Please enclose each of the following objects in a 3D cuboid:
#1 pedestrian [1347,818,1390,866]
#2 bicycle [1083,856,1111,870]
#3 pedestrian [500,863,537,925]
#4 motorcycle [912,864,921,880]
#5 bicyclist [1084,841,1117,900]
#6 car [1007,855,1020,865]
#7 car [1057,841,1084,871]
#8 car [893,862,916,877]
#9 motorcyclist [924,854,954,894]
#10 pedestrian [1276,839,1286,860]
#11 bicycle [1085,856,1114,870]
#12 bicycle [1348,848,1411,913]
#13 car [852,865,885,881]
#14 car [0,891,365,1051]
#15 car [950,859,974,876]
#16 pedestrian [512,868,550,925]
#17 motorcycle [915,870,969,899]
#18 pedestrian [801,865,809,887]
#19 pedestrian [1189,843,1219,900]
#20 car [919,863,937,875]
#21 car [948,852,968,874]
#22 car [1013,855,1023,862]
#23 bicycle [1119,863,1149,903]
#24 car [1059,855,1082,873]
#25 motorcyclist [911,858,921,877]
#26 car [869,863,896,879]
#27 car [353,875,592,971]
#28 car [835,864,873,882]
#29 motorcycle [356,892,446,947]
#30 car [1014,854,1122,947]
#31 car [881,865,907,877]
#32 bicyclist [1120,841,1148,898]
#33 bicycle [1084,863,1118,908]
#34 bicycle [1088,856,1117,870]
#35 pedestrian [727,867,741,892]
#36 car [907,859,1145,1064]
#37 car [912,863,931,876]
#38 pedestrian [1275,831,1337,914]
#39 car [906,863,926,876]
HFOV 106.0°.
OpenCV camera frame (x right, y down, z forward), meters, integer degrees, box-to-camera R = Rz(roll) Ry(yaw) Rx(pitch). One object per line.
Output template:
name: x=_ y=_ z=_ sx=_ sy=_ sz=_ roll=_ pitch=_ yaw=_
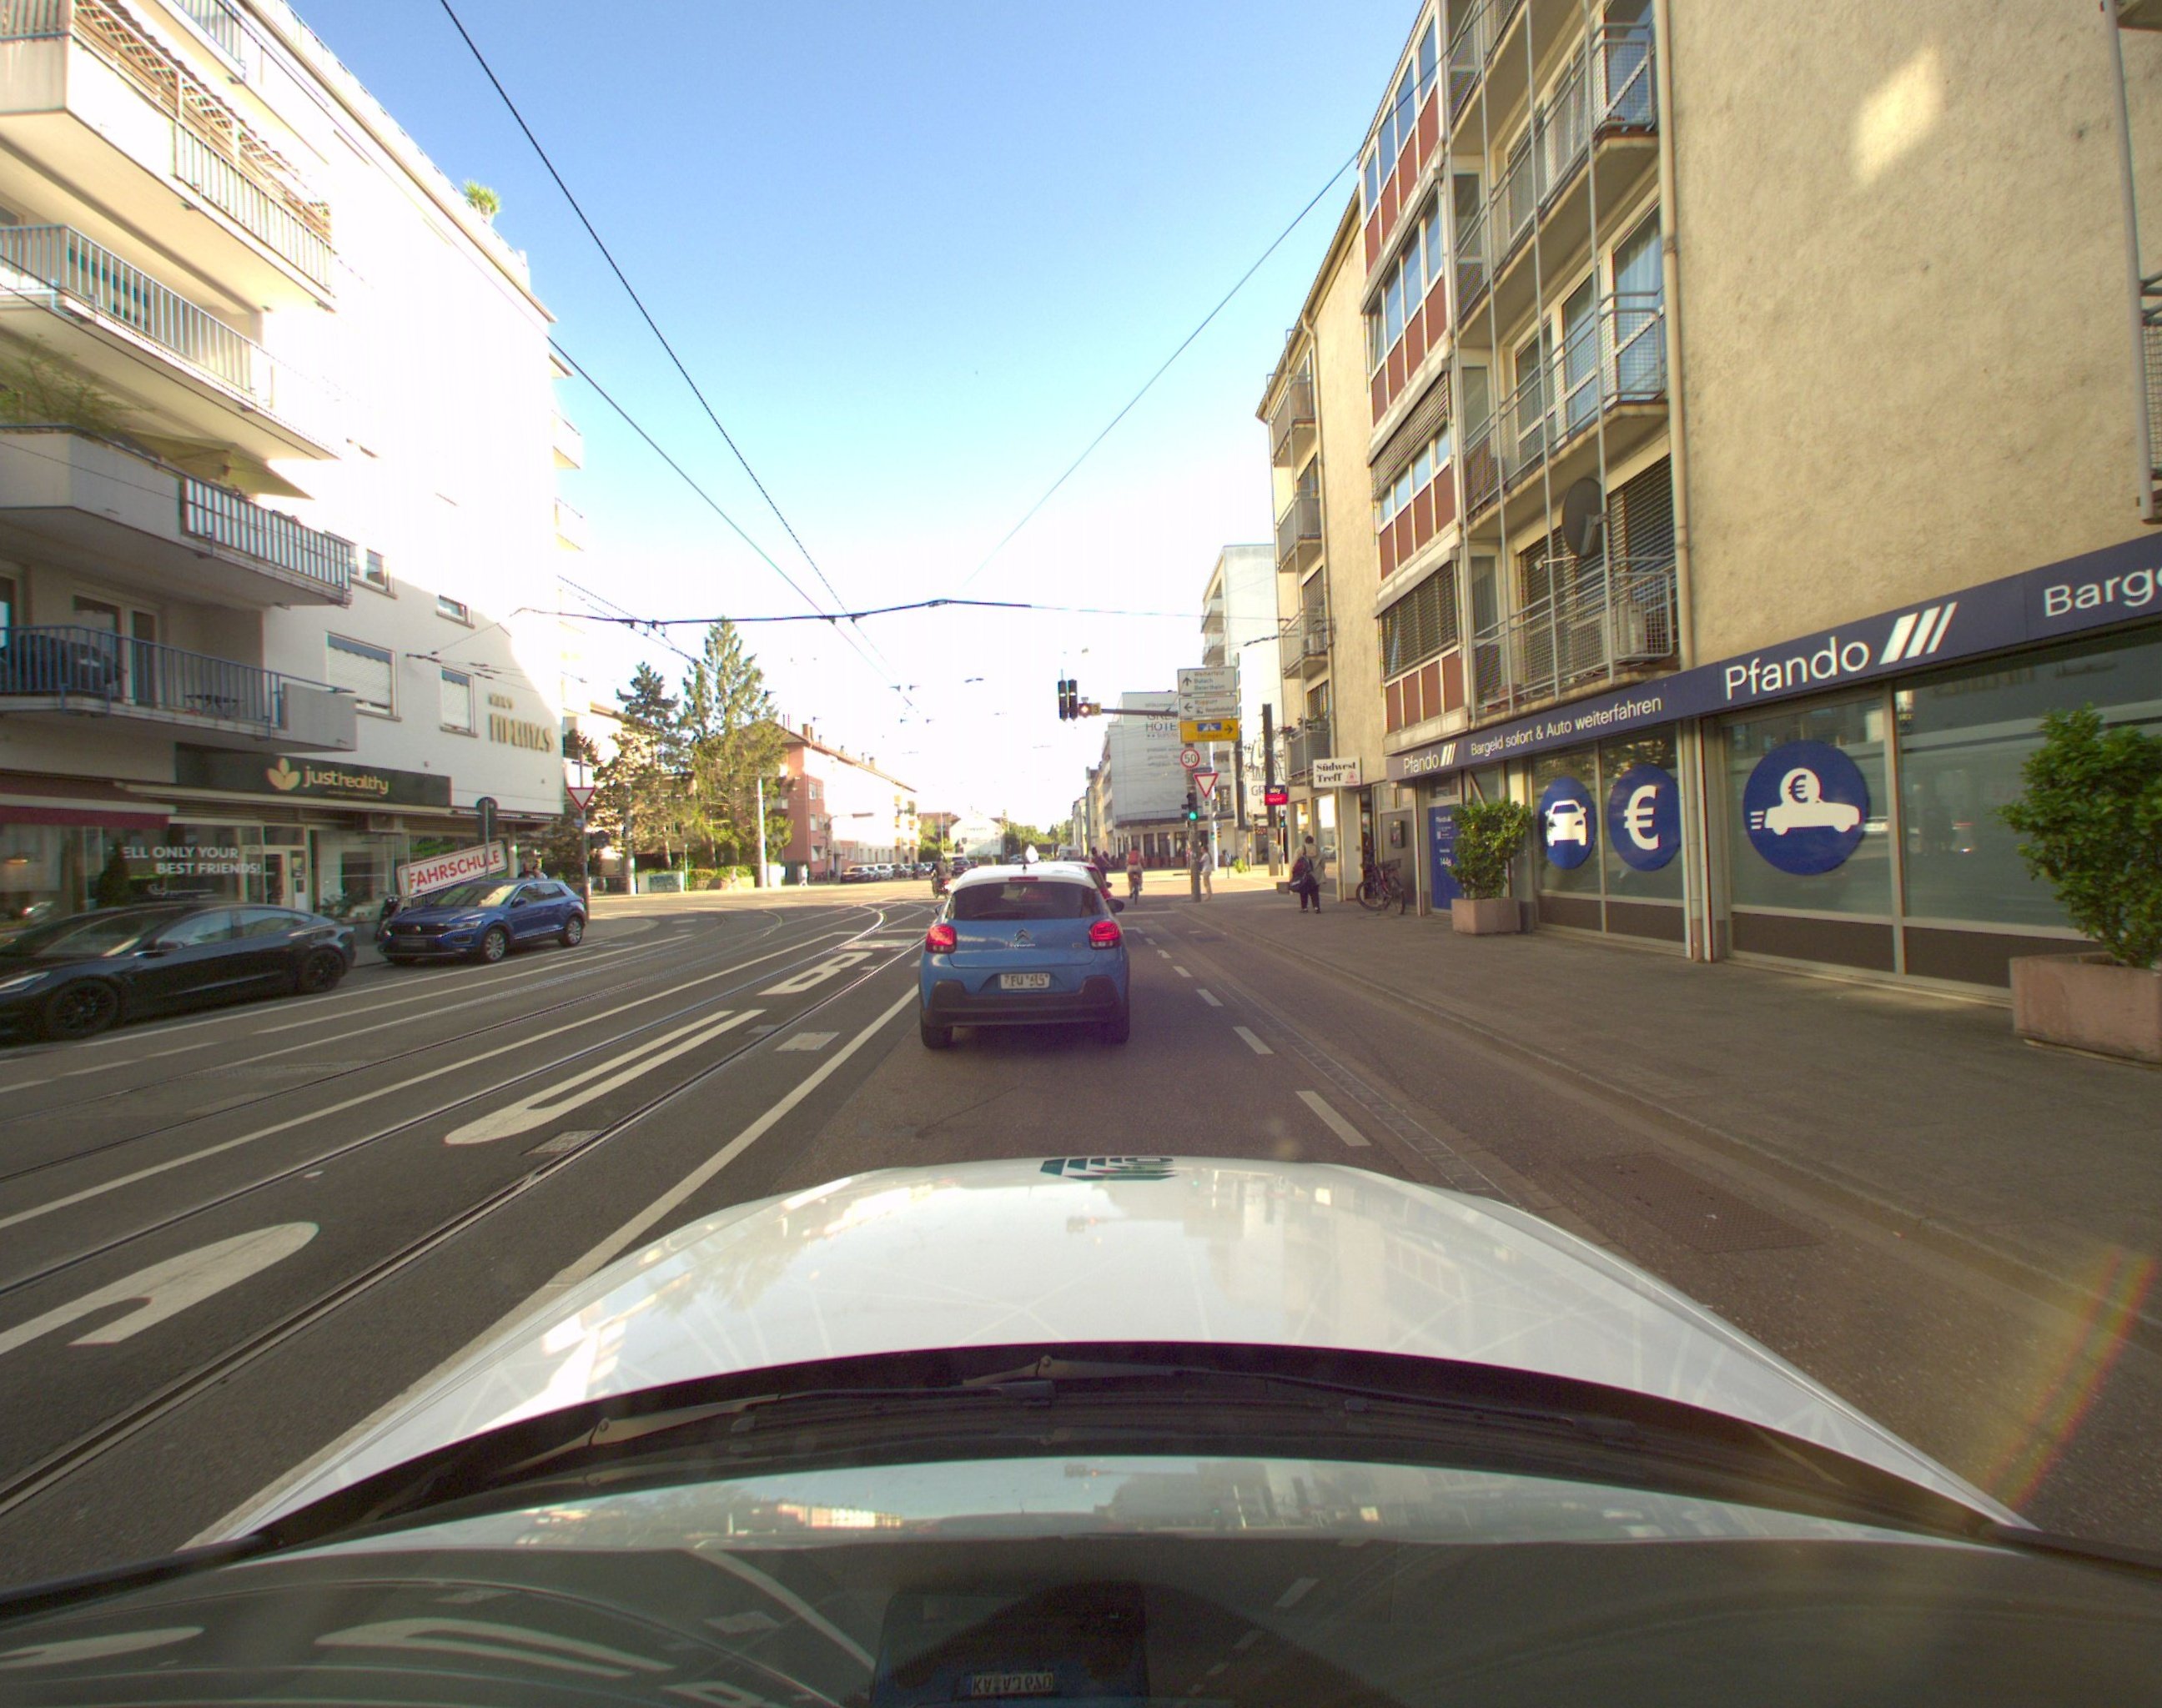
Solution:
pedestrian: x=6.781 y=-0.273 z=19.222 sx=0.627 sy=1.087 sz=0.672 roll=-3 pitch=1 yaw=-35
bicycle: x=1.378 y=0.770 z=68.430 sx=2.246 sy=1.001 sz=0.855 roll=-4 pitch=0 yaw=-4
pedestrian: x=-17.381 y=1.234 z=25.183 sx=0.568 sy=1.900 sz=0.742 roll=-2 pitch=-3 yaw=16
motorcycle: x=-13.476 y=1.469 z=66.668 sx=0.712 sy=1.220 sz=1.957 roll=-2 pitch=-2 yaw=-12
bicyclist: x=0.570 y=0.468 z=23.677 sx=0.937 sy=1.673 sz=1.079 roll=0 pitch=-1 yaw=0
car: x=-14.117 y=1.227 z=170.556 sx=2.212 sy=1.932 sz=4.946 roll=0 pitch=-1 yaw=-1
car: x=-0.972 y=0.200 z=73.036 sx=2.260 sy=2.482 sz=5.002 roll=-1 pitch=0 yaw=-3
car: x=-20.067 y=1.758 z=92.739 sx=1.865 sy=1.576 sz=3.995 roll=0 pitch=-1 yaw=-3
motorcyclist: x=-5.337 y=0.756 z=30.631 sx=0.719 sy=1.488 sz=0.863 roll=-1 pitch=-1 yaw=35
pedestrian: x=15.766 y=-0.339 z=64.224 sx=0.604 sy=1.608 sz=0.673 roll=-1 pitch=-1 yaw=29
bicycle: x=1.532 y=0.752 z=67.315 sx=2.246 sy=1.001 sz=0.855 roll=-4 pitch=0 yaw=-4
bicycle: x=5.740 y=0.493 z=15.763 sx=0.495 sy=1.161 sz=1.776 roll=-2 pitch=-1 yaw=-1
car: x=-19.472 y=1.743 z=74.769 sx=1.897 sy=1.436 sz=4.102 roll=0 pitch=-1 yaw=0
car: x=-12.004 y=1.307 z=10.436 sx=1.764 sy=1.475 sz=4.443 roll=0 pitch=-1 yaw=-1
car: x=-11.214 y=1.221 z=76.918 sx=1.775 sy=1.486 sz=3.824 roll=-3 pitch=0 yaw=-3
pedestrian: x=-18.121 y=1.391 z=26.841 sx=0.732 sy=1.792 sz=0.663 roll=-2 pitch=0 yaw=5
motorcycle: x=-5.219 y=1.115 z=30.548 sx=1.917 sy=1.047 sz=0.863 roll=-1 pitch=-1 yaw=35
pedestrian: x=-20.559 y=1.643 z=60.613 sx=0.518 sy=1.568 sz=0.569 roll=0 pitch=-1 yaw=-21
pedestrian: x=3.654 y=0.519 z=24.171 sx=0.534 sy=1.623 sz=0.737 roll=-7 pitch=-3 yaw=23
car: x=-20.382 y=1.968 z=108.467 sx=1.865 sy=1.576 sz=3.995 roll=0 pitch=-1 yaw=-3
car: x=-18.063 y=1.281 z=119.857 sx=2.411 sy=3.142 sz=3.487 roll=0 pitch=-1 yaw=-1
car: x=-14.555 y=1.034 z=188.455 sx=2.068 sy=1.762 sz=5.034 roll=0 pitch=-1 yaw=-1
bicycle: x=1.662 y=0.864 z=25.145 sx=0.807 sy=1.181 sz=2.067 roll=0 pitch=-1 yaw=6
car: x=-0.882 y=0.844 z=67.977 sx=1.654 sy=1.431 sz=3.882 roll=0 pitch=-1 yaw=-4
motorcyclist: x=-13.511 y=1.087 z=66.679 sx=0.694 sy=1.497 sz=0.681 roll=-2 pitch=-2 yaw=-12
car: x=-19.416 y=1.659 z=79.900 sx=1.737 sy=1.526 sz=4.227 roll=0 pitch=-1 yaw=-1
car: x=-11.845 y=1.256 z=16.272 sx=1.765 sy=1.503 sz=4.233 roll=0 pitch=1 yaw=-4
car: x=-19.376 y=1.638 z=69.691 sx=2.149 sy=1.432 sz=4.435 roll=0 pitch=-2 yaw=-3
motorcycle: x=-15.818 y=1.493 z=19.004 sx=0.605 sy=1.134 sz=1.795 roll=0 pitch=-1 yaw=-2
car: x=-0.300 y=0.768 z=15.439 sx=1.780 sy=1.521 sz=3.758 roll=0 pitch=0 yaw=-3
car: x=-19.803 y=1.778 z=86.572 sx=1.942 sy=1.239 sz=4.279 roll=0 pitch=0 yaw=-2
bicyclist: x=1.637 y=0.469 z=24.984 sx=0.807 sy=1.692 sz=0.937 roll=0 pitch=-1 yaw=6
bicycle: x=0.577 y=0.894 z=23.618 sx=0.937 sy=1.223 sz=2.094 roll=0 pitch=-1 yaw=1
bicycle: x=1.761 y=0.749 z=65.941 sx=2.246 sy=1.001 sz=0.855 roll=-4 pitch=0 yaw=-4
pedestrian: x=-24.771 y=1.826 z=58.156 sx=0.788 sy=1.722 sz=0.696 roll=0 pitch=-1 yaw=-38
car: x=-0.614 y=0.799 z=7.878 sx=1.735 sy=1.452 sz=3.653 roll=-1 pitch=0 yaw=-7
car: x=-20.200 y=1.925 z=103.363 sx=1.865 sy=1.576 sz=3.995 roll=0 pitch=-1 yaw=-3
pedestrian: x=4.628 y=0.369 z=16.791 sx=0.883 sy=1.592 sz=0.809 roll=-5 pitch=1 yaw=-7
car: x=-20.011 y=1.887 z=98.801 sx=1.865 sy=1.576 sz=3.995 roll=0 pitch=-1 yaw=-3
